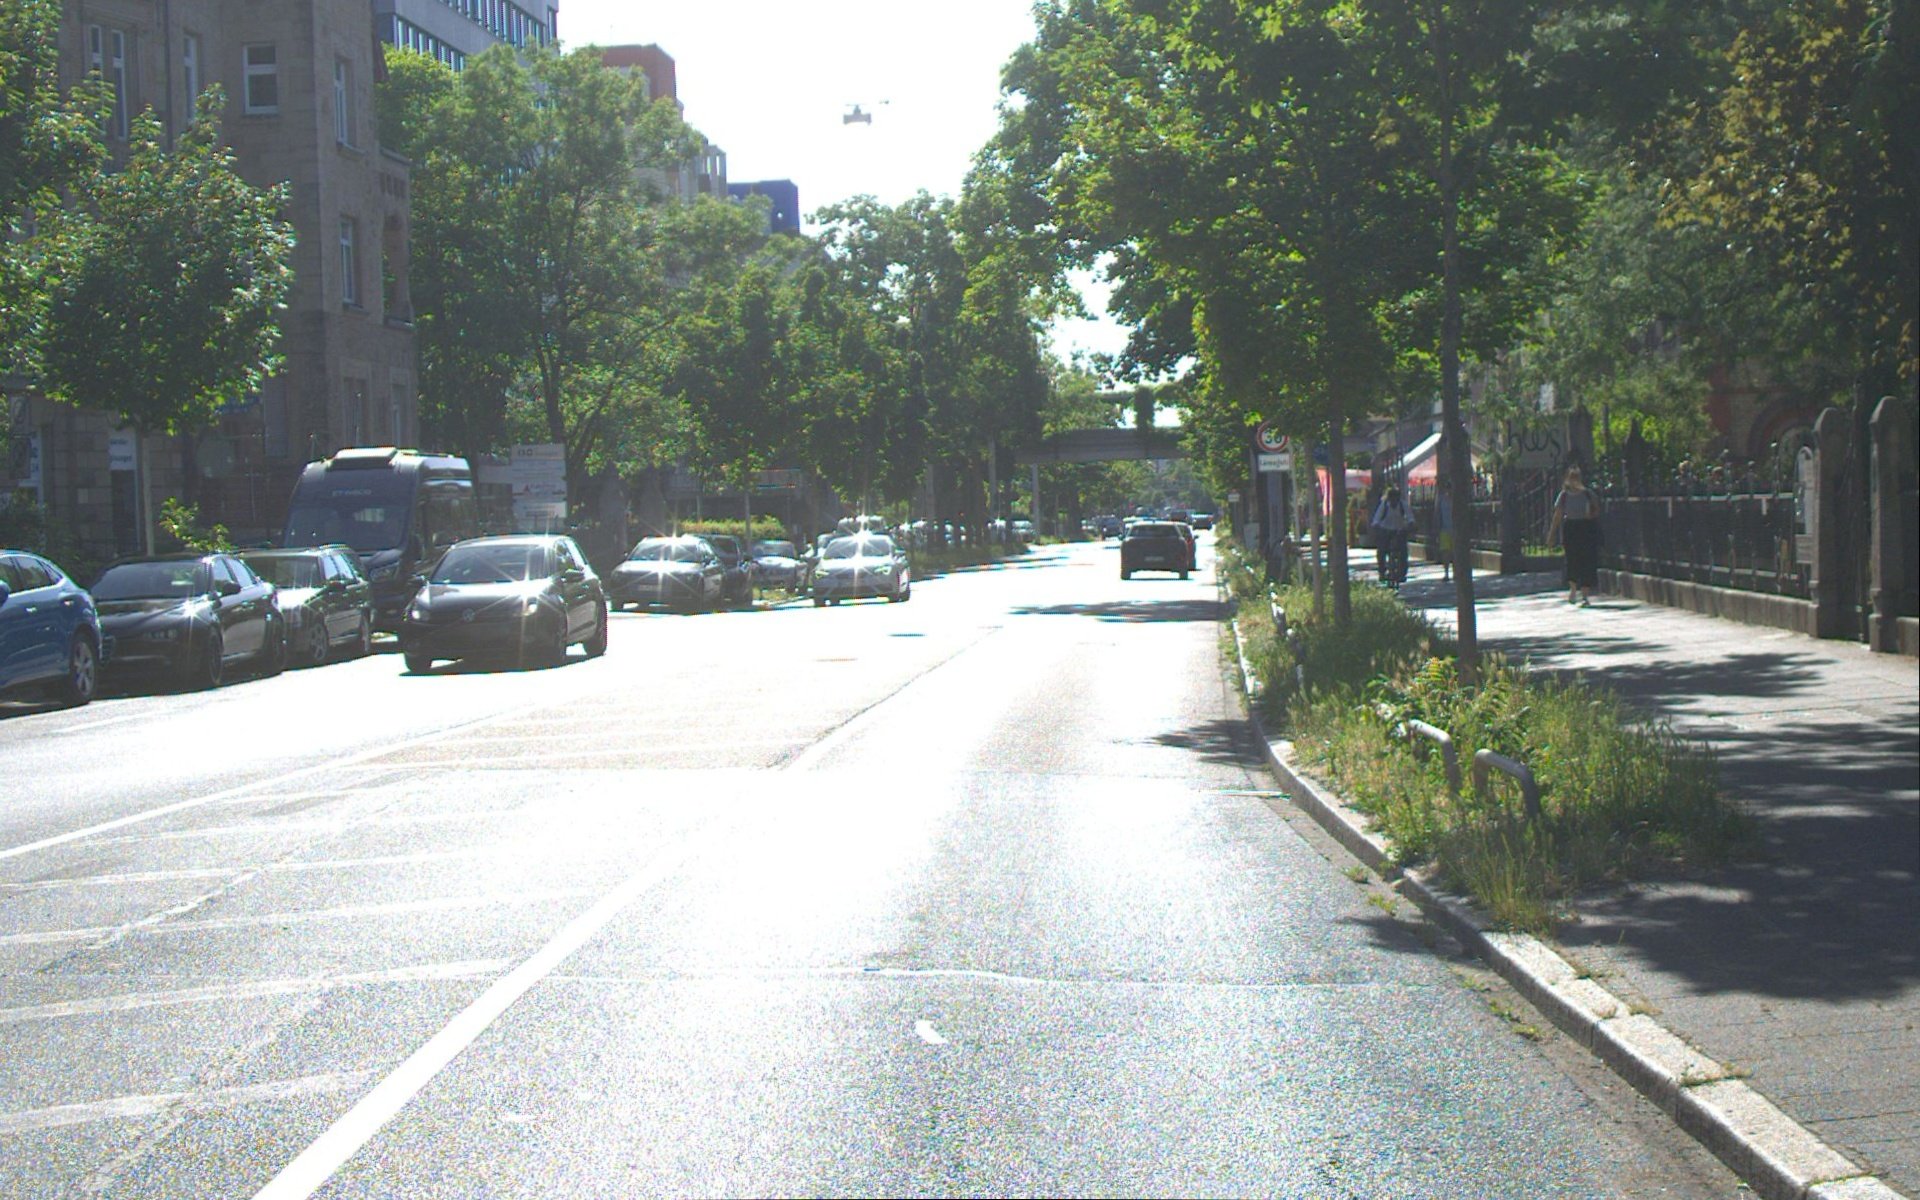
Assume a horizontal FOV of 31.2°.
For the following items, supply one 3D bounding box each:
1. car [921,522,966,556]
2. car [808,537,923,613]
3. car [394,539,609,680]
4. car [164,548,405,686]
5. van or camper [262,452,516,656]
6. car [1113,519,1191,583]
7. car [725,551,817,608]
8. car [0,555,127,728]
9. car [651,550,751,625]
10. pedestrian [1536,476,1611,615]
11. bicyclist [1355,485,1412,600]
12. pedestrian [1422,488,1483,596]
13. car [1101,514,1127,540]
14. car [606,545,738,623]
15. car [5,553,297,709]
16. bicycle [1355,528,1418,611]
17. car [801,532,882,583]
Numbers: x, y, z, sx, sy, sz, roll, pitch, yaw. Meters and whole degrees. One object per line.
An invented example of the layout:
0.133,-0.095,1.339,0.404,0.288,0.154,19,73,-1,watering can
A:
-0.796,-2.964,166.572,1.856,1.563,3.871,-1,2,5,car
-1.939,-0.542,71.812,1.918,1.414,4.225,-3,1,4,car
-5.222,0.066,39.624,1.592,1.445,4.133,-2,1,4,car
-8.309,0.167,42.692,1.694,1.451,4.663,-3,2,4,car
-8.243,-0.723,50.285,2.216,2.729,6.088,-2,2,4,van or camper
5.065,-1.316,91.042,1.985,1.595,4.140,-1,2,3,car
-4.526,-0.503,82.794,1.678,1.251,4.014,-1,2,5,car
-9.521,0.394,32.575,1.780,1.532,4.558,-2,1,5,car
-5.622,-0.301,75.081,1.855,1.489,4.706,1,2,-1,car
7.555,-0.670,42.353,0.695,1.652,0.820,-5,1,4,pedestrian
6.415,-0.874,52.063,0.620,1.684,0.820,-5,1,1,bicyclist
8.487,-0.999,59.178,0.748,1.781,0.810,-4,1,20,pedestrian
11.581,-5.535,258.720,1.856,1.818,4.610,-3,1,3,car
-5.819,-0.357,69.911,1.856,1.422,4.719,2,2,5,car
-8.700,0.290,37.358,1.780,1.408,4.405,-3,2,4,car
6.453,-0.475,52.092,0.616,1.172,1.919,-5,2,0,bicycle
-3.393,-1.238,98.936,1.688,1.378,4.190,-1,2,7,car
